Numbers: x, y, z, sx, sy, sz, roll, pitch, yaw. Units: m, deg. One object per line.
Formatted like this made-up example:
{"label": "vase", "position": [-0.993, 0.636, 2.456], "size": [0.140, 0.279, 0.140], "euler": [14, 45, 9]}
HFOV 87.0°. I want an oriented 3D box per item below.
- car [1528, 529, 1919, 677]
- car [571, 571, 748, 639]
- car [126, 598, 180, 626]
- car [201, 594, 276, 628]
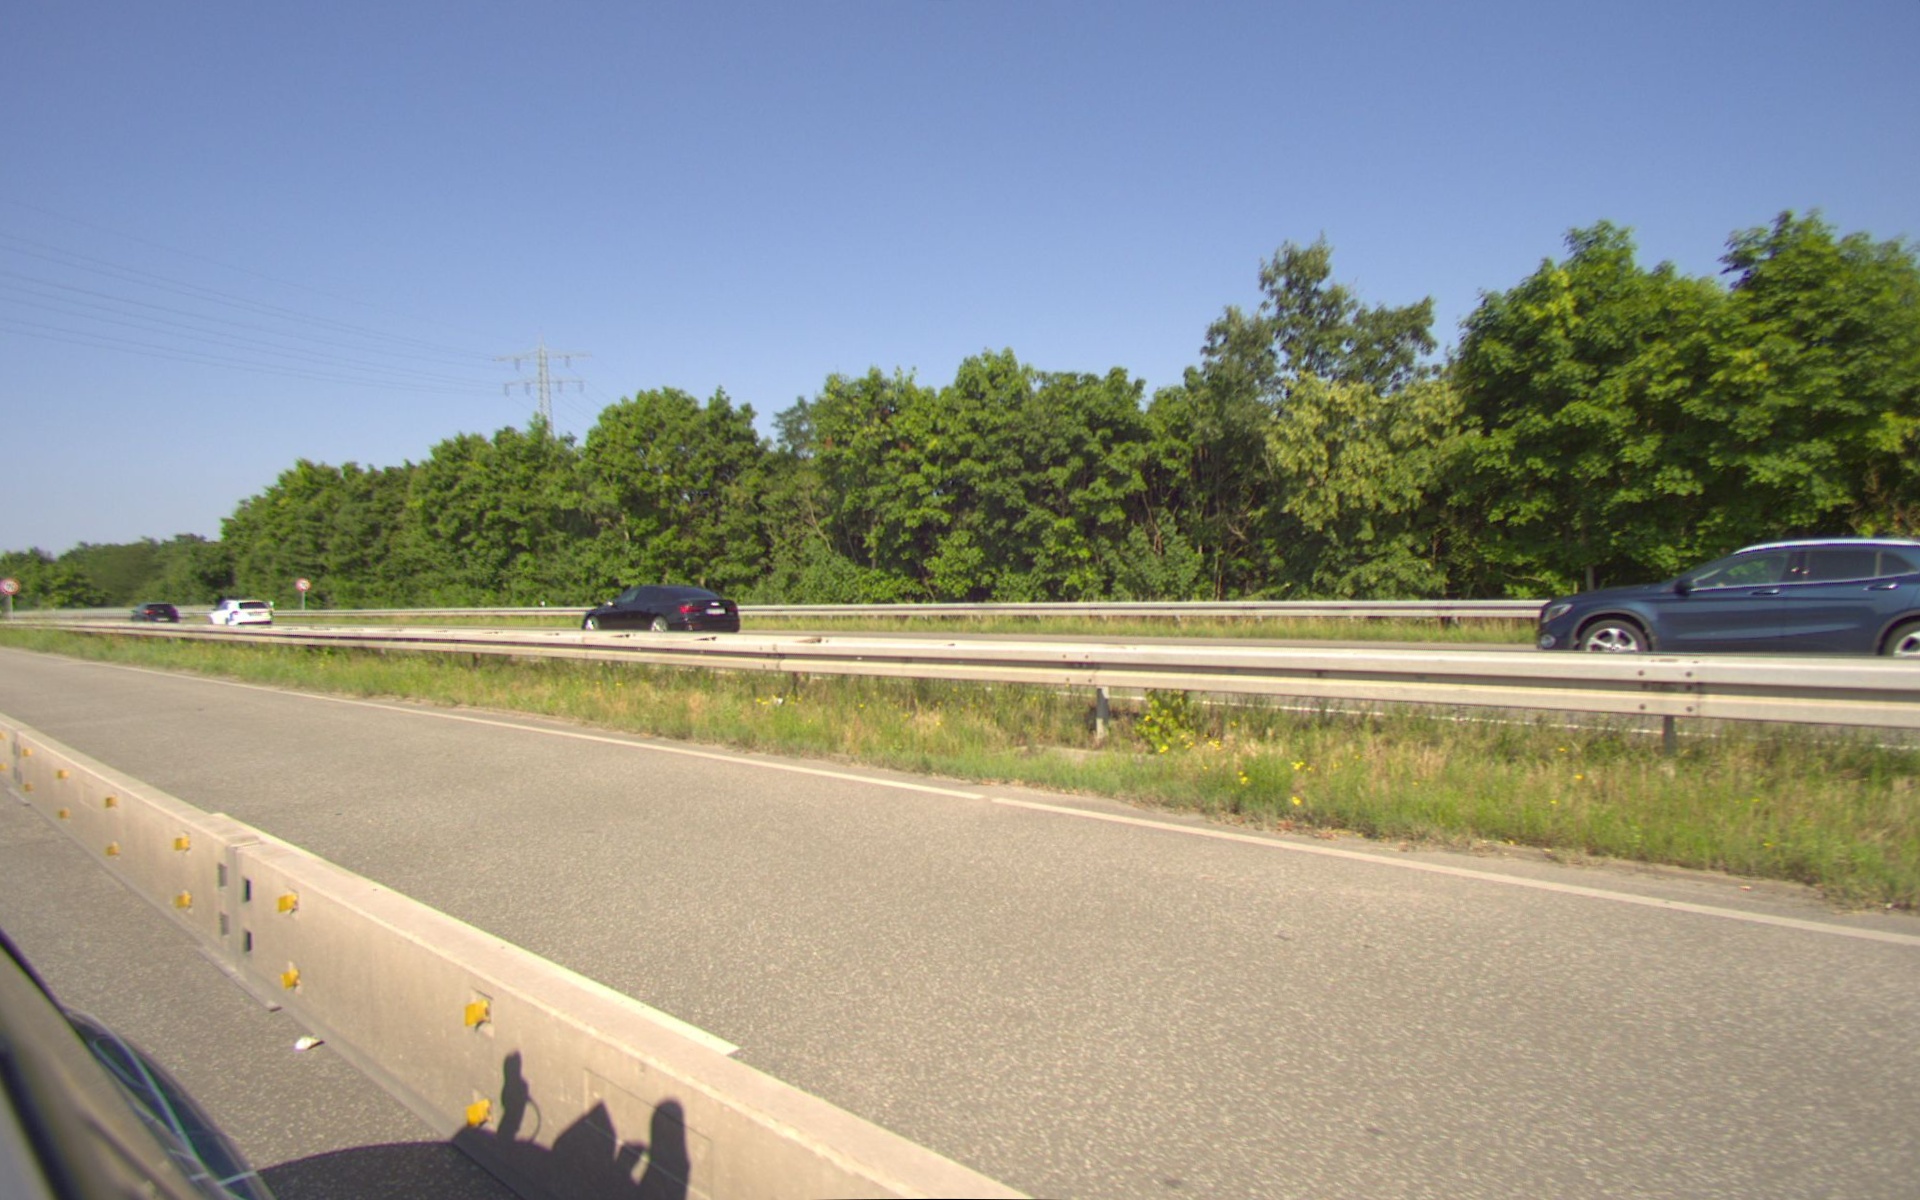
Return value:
{"label": "car", "position": [9.102, 0.005, 11.262], "size": [4.590, 1.445, 1.778], "euler": [-1, 2, 41]}
{"label": "car", "position": [-7.466, 0.123, 24.834], "size": [5.021, 1.499, 1.797], "euler": [0, 0, 42]}
{"label": "car", "position": [-47.758, 0.690, 59.866], "size": [4.106, 1.505, 1.721], "euler": [-1, 2, 40]}
{"label": "car", "position": [-34.833, 0.514, 48.798], "size": [4.790, 1.481, 1.742], "euler": [-1, 3, 40]}
